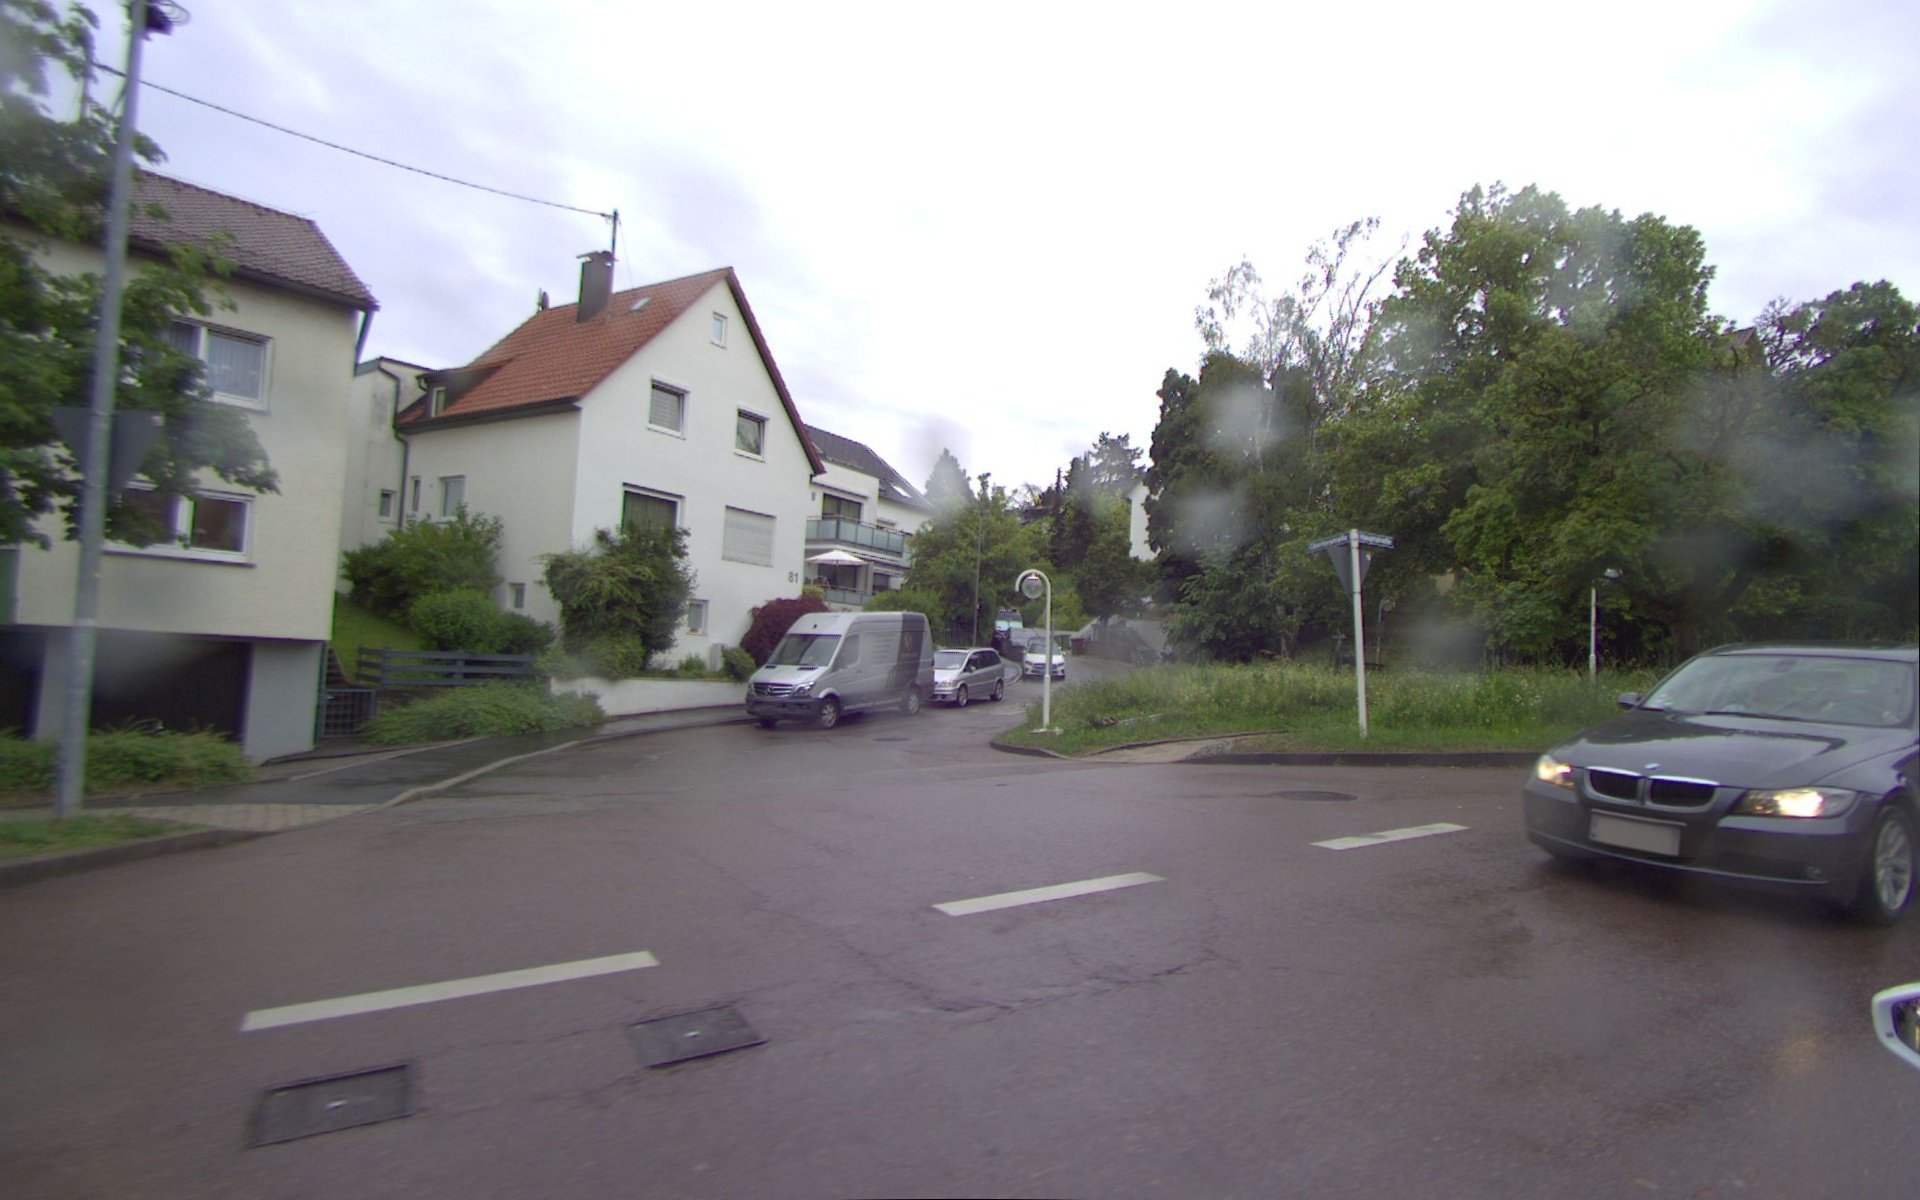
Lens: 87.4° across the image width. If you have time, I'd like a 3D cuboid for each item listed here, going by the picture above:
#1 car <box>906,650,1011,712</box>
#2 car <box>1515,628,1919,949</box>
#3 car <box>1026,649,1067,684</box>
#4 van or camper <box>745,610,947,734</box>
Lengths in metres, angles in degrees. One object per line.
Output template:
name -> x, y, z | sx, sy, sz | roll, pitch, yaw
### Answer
car -> 0.027, 2.335, 29.734 | 1.531, 1.569, 4.036 | 1, -1, 25
car -> 5.471, 0.946, 6.403 | 4.037, 1.473, 1.553 | 1, -1, -30
car -> 3.728, 2.836, 43.281 | 1.687, 1.270, 3.977 | 1, -1, 5
van or camper -> -2.549, 1.608, 24.471 | 1.611, 2.591, 6.056 | 2, 0, 29
